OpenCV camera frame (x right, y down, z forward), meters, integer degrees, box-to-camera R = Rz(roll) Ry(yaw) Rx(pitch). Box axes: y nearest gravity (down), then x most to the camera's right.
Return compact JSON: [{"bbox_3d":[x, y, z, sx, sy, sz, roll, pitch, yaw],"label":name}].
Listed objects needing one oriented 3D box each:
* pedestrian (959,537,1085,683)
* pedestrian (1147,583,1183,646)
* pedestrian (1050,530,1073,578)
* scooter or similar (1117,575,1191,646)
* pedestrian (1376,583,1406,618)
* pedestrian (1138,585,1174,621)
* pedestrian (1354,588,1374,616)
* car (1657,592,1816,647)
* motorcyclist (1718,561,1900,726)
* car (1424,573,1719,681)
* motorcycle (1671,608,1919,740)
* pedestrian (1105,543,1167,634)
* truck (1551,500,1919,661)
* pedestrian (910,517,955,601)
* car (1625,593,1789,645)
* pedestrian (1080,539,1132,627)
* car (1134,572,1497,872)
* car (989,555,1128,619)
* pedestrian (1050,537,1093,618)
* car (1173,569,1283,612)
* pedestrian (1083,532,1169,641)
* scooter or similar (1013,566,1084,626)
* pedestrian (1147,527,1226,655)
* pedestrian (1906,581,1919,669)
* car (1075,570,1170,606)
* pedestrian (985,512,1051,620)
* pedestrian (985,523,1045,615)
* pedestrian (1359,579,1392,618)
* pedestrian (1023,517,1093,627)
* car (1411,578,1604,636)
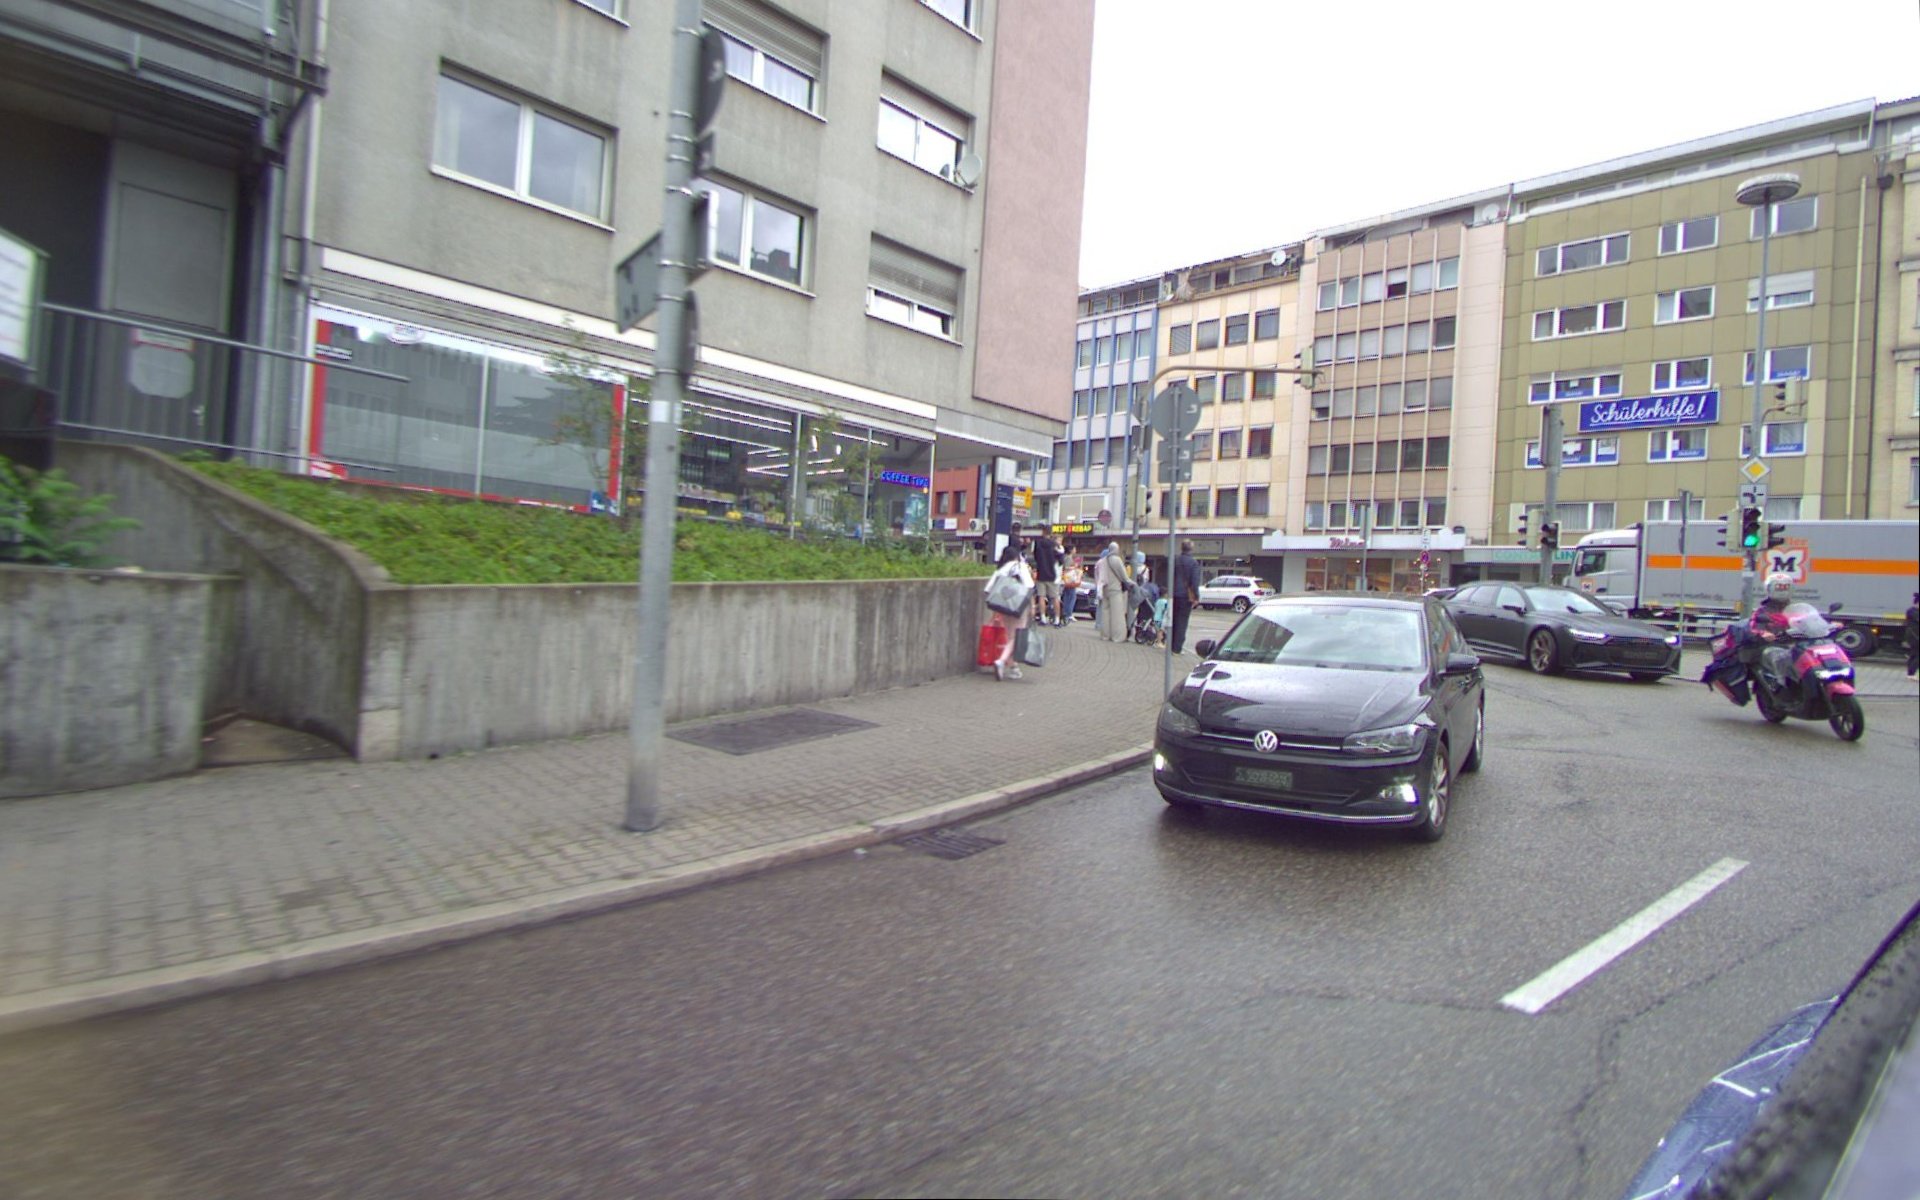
[{"bbox_3d":[0.741,0.085,11.855,1.050,1.549,1.017,6,4,28],"label":"pedestrian"},{"bbox_3d":[3.423,0.234,16.943,0.256,1.012,0.473,8,-1,-21],"label":"pedestrian"},{"bbox_3d":[1.862,-0.841,18.579,0.216,0.857,0.442,1,2,-23],"label":"pedestrian"},{"bbox_3d":[3.356,0.175,17.528,0.952,1.123,0.656,5,0,-25],"label":"scooter or similar"},{"bbox_3d":[19.208,0.029,45.115,0.658,1.502,1.062,1,1,-45],"label":"pedestrian"},{"bbox_3d":[3.391,0.051,17.509,0.364,0.578,0.459,5,0,-25],"label":"pedestrian"},{"bbox_3d":[18.807,0.082,47.116,0.527,1.265,0.719,1,1,-45],"label":"pedestrian"},{"bbox_3d":[26.583,0.624,34.760,4.183,1.582,1.681,4,2,40],"label":"car"},{"bbox_3d":[8.973,0.428,10.761,1.076,1.625,0.950,2,1,10],"label":"motorcyclist"},{"bbox_3d":[10.224,0.351,17.486,1.961,1.509,4.738,3,1,-3],"label":"car"},{"bbox_3d":[8.979,0.725,10.862,1.292,1.149,2.180,3,1,9],"label":"motorcycle"},{"bbox_3d":[3.460,-0.226,19.927,0.531,1.656,0.837,7,2,-44],"label":"pedestrian"},{"bbox_3d":[24.858,-0.689,31.449,2.806,4.387,10.757,2,2,-41],"label":"truck"},{"bbox_3d":[-0.625,-0.940,23.224,0.661,1.889,0.829,3,2,30],"label":"pedestrian"},{"bbox_3d":[26.088,0.599,35.448,1.823,1.570,4.390,0,2,-44],"label":"car"},{"bbox_3d":[2.893,-0.348,20.144,0.731,1.654,0.597,7,2,-3],"label":"pedestrian"},{"bbox_3d":[2.774,0.570,7.301,1.730,1.448,3.839,1,3,31],"label":"car"},{"bbox_3d":[2.601,-0.398,27.685,1.834,1.566,4.111,1,2,-27],"label":"car"},{"bbox_3d":[2.482,-0.506,22.595,0.615,1.712,0.783,5,1,-8],"label":"pedestrian"},{"bbox_3d":[13.034,-0.485,49.404,1.823,1.850,4.955,2,2,-43],"label":"car"},{"bbox_3d":[2.824,-0.229,17.272,1.017,1.744,0.840,5,0,-27],"label":"pedestrian"},{"bbox_3d":[1.707,-0.083,19.589,0.760,0.997,1.047,5,3,-44],"label":"scooter or similar"},{"bbox_3d":[3.585,-0.155,16.027,0.605,1.888,0.789,7,3,-28],"label":"pedestrian"},{"bbox_3d":[16.915,0.448,17.558,0.694,1.506,0.560,1,3,-39],"label":"pedestrian"},{"bbox_3d":[8.615,-0.662,54.096,1.839,1.628,4.872,2,2,-43],"label":"car"},{"bbox_3d":[1.087,-0.641,19.003,0.805,1.955,0.732,4,1,-36],"label":"pedestrian"},{"bbox_3d":[1.084,-0.617,20.130,0.822,1.743,0.618,4,2,-36],"label":"pedestrian"},{"bbox_3d":[18.914,-0.067,46.073,1.084,1.716,0.939,2,1,45],"label":"pedestrian"},{"bbox_3d":[1.808,-0.518,18.633,0.823,1.887,0.658,6,2,-40],"label":"pedestrian"},{"bbox_3d":[15.889,0.178,29.551,1.768,1.433,4.621,2,1,-44],"label":"car"}]
